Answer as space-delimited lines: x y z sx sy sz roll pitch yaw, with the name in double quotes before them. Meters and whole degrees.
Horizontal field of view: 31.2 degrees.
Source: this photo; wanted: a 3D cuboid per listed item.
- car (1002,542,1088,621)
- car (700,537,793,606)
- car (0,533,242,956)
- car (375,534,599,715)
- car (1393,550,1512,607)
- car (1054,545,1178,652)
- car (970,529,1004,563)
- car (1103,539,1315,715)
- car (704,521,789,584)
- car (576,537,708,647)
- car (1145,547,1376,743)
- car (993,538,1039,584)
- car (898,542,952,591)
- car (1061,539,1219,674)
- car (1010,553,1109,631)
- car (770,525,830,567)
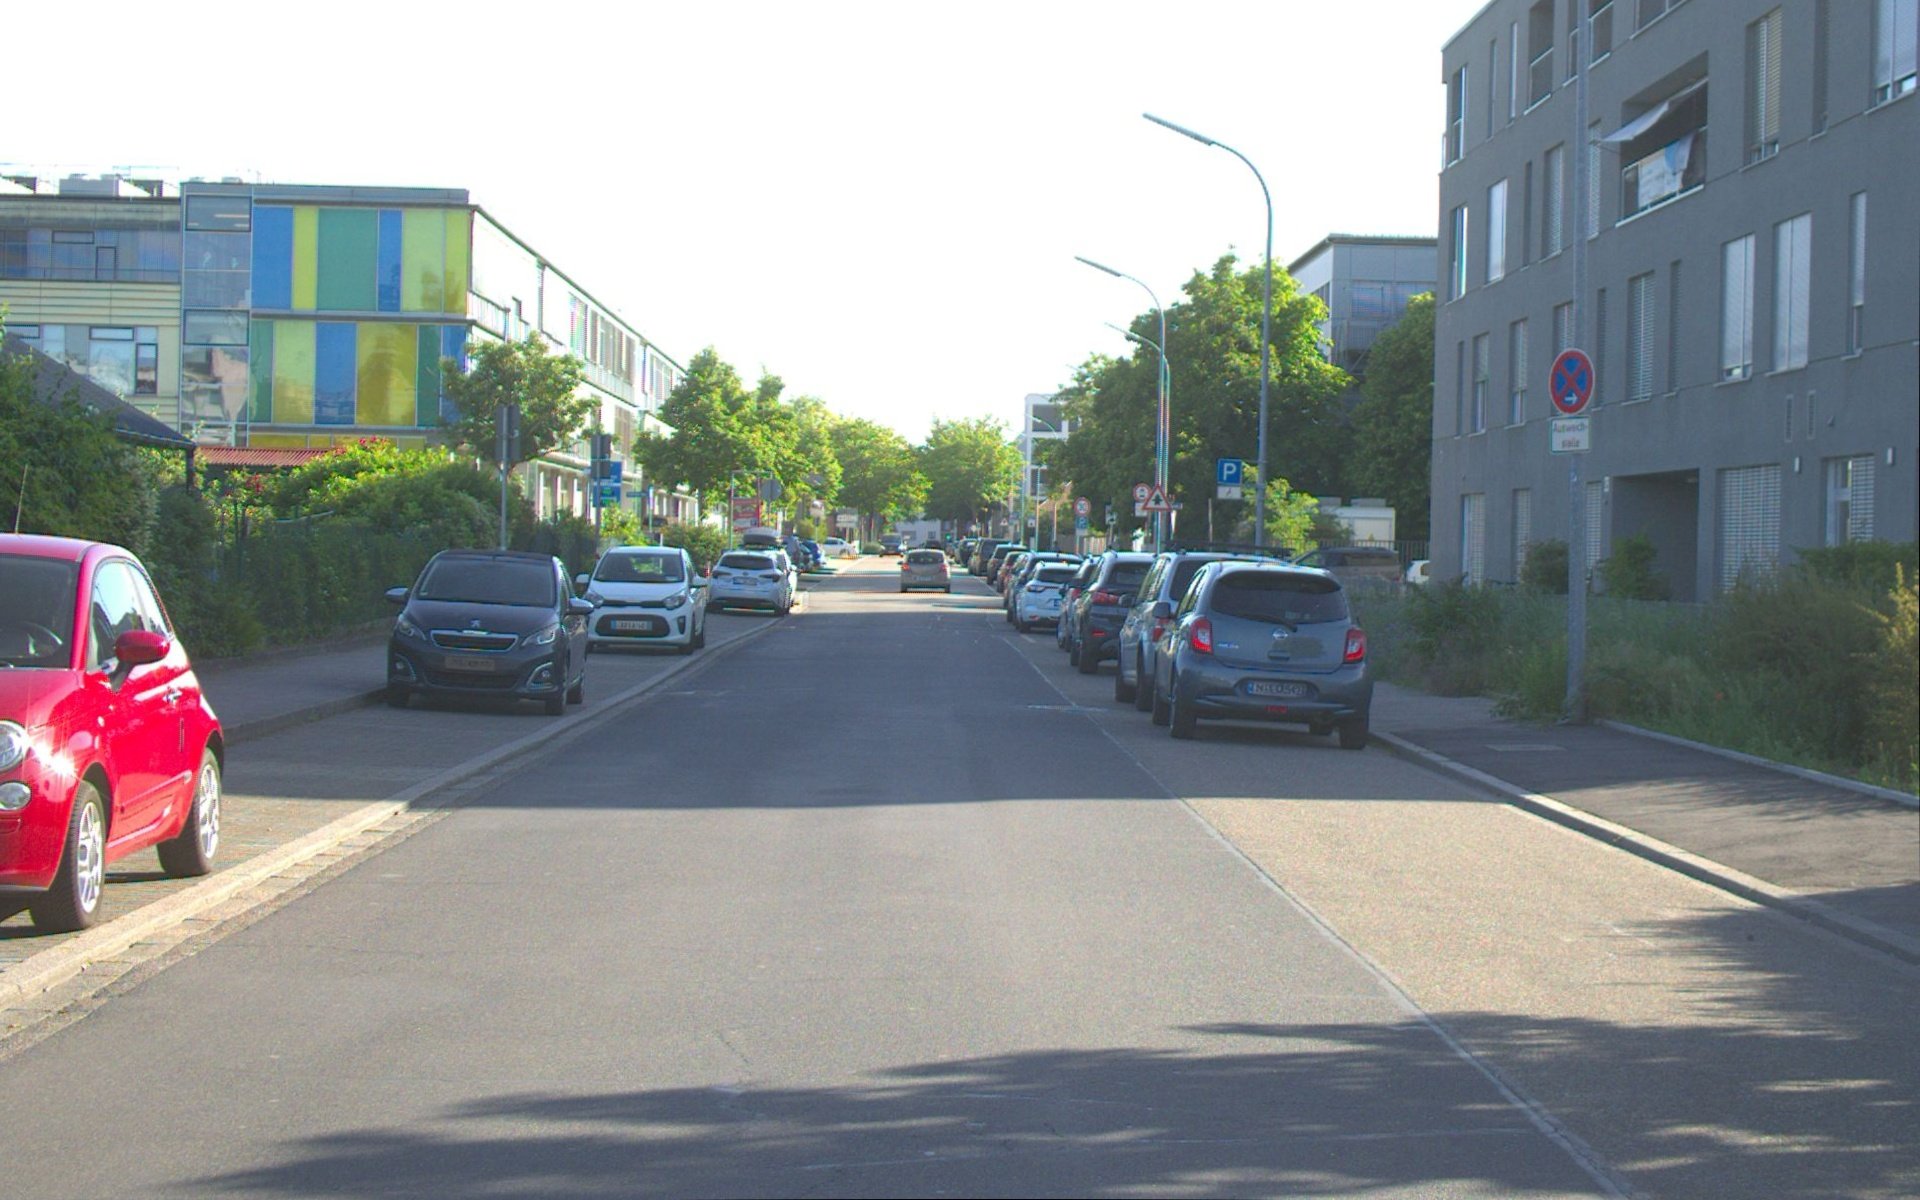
"car" 1.850 -0.429 75.598 1.632 1.625 3.614 3 1 -2
"car" -4.836 -0.665 78.422 1.854 1.423 4.134 3 1 -1
"car" -4.048 0.474 13.934 1.559 1.489 3.571 1 1 -1
"car" -4.353 0.185 32.079 1.559 1.489 3.571 4 1 -1
"car" 14.351 -0.635 100.224 3.216 1.455 1.450 3 1 2
"car" 2.445 -0.051 54.649 1.657 1.546 3.851 3 1 -1
"car" 1.275 -2.605 165.618 1.445 1.544 3.614 3 1 -2
"car" 2.502 0.230 35.441 1.676 1.603 4.179 4 1 -2
"car" -5.305 -1.193 85.702 1.854 1.423 4.134 3 1 -1
"car" -4.507 -0.138 49.123 1.559 1.489 3.759 1 1 -1
"car" 2.592 0.342 30.388 1.622 1.521 3.901 4 1 0
"car" 2.007 -1.411 124.220 1.445 1.544 3.614 3 1 -2
"car" -1.186 -1.149 116.228 1.689 1.544 3.614 3 1 -2
"car" 2.342 0.046 45.653 1.741 1.619 4.179 3 1 -1
"car" 1.985 -0.190 69.591 1.741 1.423 4.134 3 1 -1
"car" -6.383 -2.166 137.766 1.855 1.558 4.133 3 1 4
